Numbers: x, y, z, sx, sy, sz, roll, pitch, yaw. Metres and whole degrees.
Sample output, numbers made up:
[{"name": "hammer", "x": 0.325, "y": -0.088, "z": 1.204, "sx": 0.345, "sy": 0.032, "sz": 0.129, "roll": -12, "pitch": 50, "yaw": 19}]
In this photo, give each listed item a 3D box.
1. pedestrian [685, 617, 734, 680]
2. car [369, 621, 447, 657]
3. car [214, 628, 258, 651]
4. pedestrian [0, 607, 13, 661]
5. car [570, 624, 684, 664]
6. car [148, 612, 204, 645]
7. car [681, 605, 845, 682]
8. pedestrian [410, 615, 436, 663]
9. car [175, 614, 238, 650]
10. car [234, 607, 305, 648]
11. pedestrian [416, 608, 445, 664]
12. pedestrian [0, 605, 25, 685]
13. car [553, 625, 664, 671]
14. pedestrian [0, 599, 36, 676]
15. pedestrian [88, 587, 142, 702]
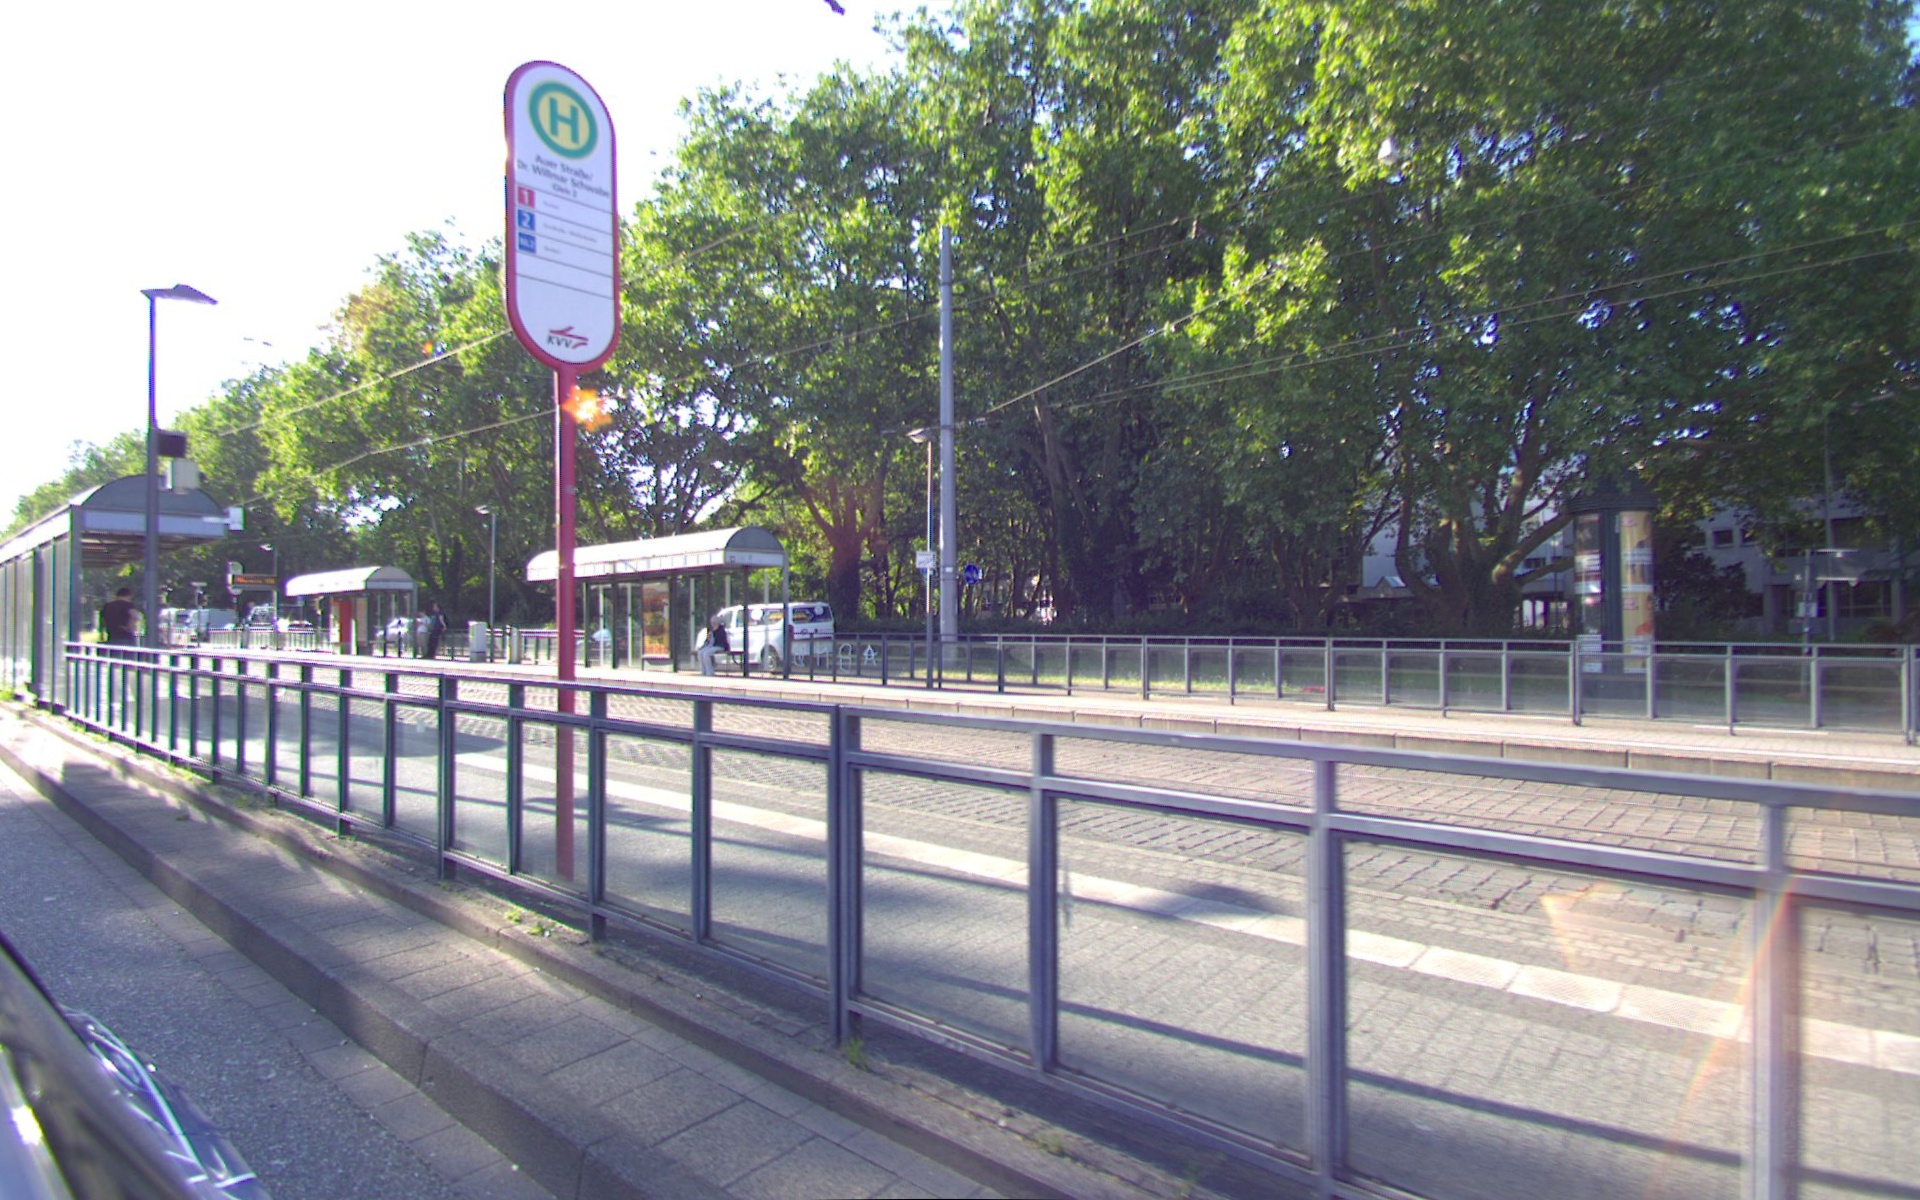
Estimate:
[{"name": "pedestrian", "x": -5.443, "y": 1.061, "z": 21.967, "sx": 0.756, "sy": 1.335, "sz": 0.663, "roll": -1, "pitch": -4, "yaw": 39}, {"name": "car", "x": -26.890, "y": 1.880, "z": 49.267, "sx": 3.968, "sy": 1.664, "sz": 1.884, "roll": 0, "pitch": -3, "yaw": 38}, {"name": "car", "x": -51.132, "y": 2.782, "z": 71.450, "sx": 3.262, "sy": 1.524, "sz": 1.636, "roll": 0, "pitch": -3, "yaw": 38}, {"name": "pedestrian", "x": -28.767, "y": 1.022, "z": 30.267, "sx": 0.650, "sy": 1.579, "sz": 0.582, "roll": -1, "pitch": 0, "yaw": 42}, {"name": "car", "x": -11.676, "y": 1.520, "z": 35.415, "sx": 4.311, "sy": 1.302, "sz": 1.752, "roll": -1, "pitch": -3, "yaw": 40}, {"name": "car", "x": -62.497, "y": 2.270, "z": 80.618, "sx": 6.044, "sy": 2.540, "sz": 2.161, "roll": -1, "pitch": -3, "yaw": 40}, {"name": "car", "x": -5.998, "y": 1.270, "z": 30.490, "sx": 5.086, "sy": 2.140, "sz": 2.046, "roll": -1, "pitch": -3, "yaw": 40}, {"name": "pedestrian", "x": -17.634, "y": 1.262, "z": 33.223, "sx": 0.626, "sy": 1.555, "sz": 0.586, "roll": -1, "pitch": 0, "yaw": 42}, {"name": "car", "x": -56.328, "y": 2.377, "z": 75.596, "sx": 6.263, "sy": 2.540, "sz": 2.162, "roll": 0, "pitch": -3, "yaw": 38}, {"name": "car", "x": -44.950, "y": 1.774, "z": 65.794, "sx": 6.027, "sy": 2.540, "sz": 2.161, "roll": -1, "pitch": -3, "yaw": 40}, {"name": "pedestrian", "x": -17.056, "y": 1.144, "z": 32.616, "sx": 0.650, "sy": 1.785, "sz": 0.641, "roll": -1, "pitch": 0, "yaw": 44}, {"name": "pedestrian", "x": -21.103, "y": 0.983, "z": 22.122, "sx": 0.701, "sy": 1.735, "sz": 0.652, "roll": -1, "pitch": 0, "yaw": 6}, {"name": "car", "x": -12.696, "y": 1.719, "z": 36.479, "sx": 4.337, "sy": 1.522, "sz": 1.776, "roll": -1, "pitch": -3, "yaw": 40}, {"name": "pedestrian", "x": -23.503, "y": 0.920, "z": 25.205, "sx": 0.643, "sy": 1.855, "sz": 0.712, "roll": -1, "pitch": 0, "yaw": -39}, {"name": "pedestrian", "x": -12.777, "y": 0.654, "z": 15.310, "sx": 0.588, "sy": 1.690, "sz": 0.590, "roll": 0, "pitch": -1, "yaw": -44}]
